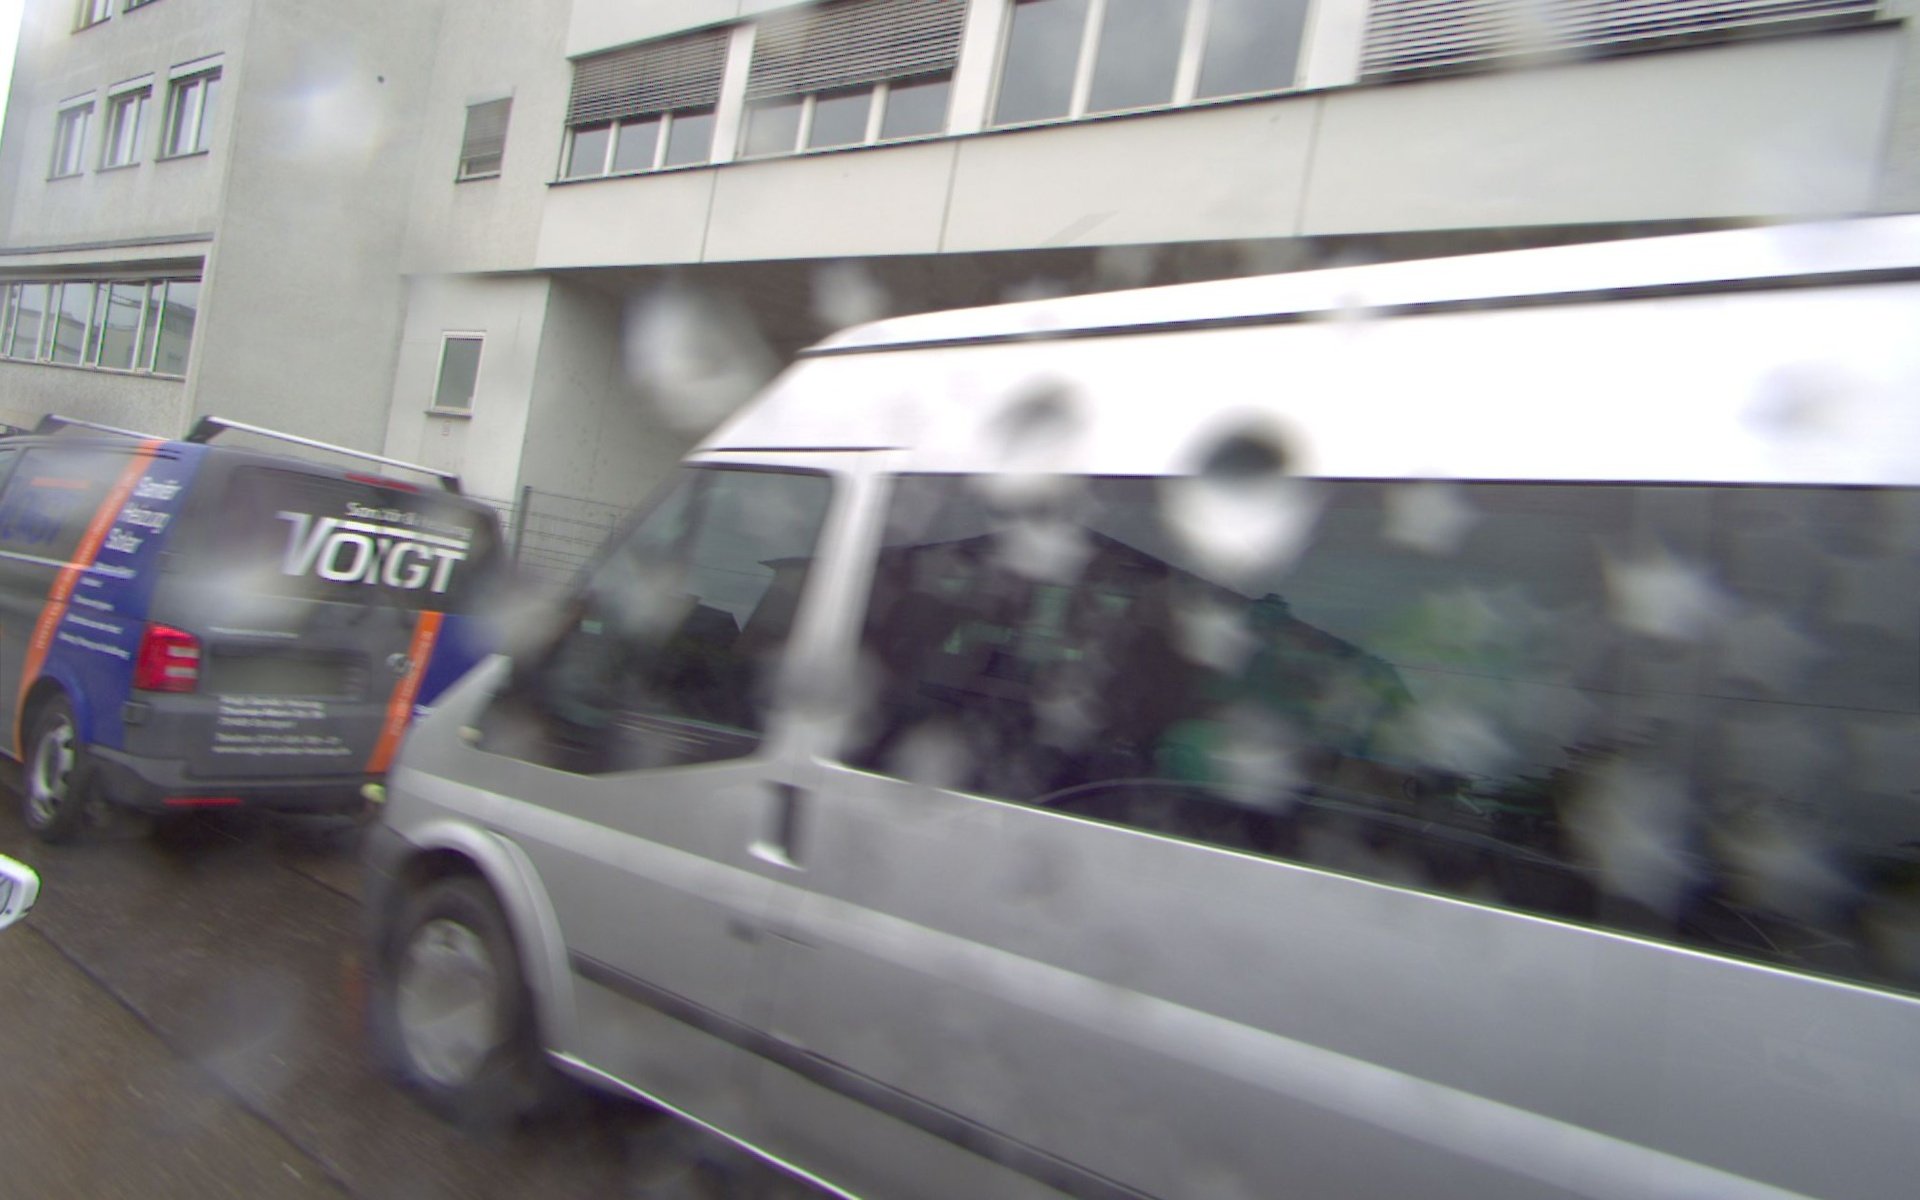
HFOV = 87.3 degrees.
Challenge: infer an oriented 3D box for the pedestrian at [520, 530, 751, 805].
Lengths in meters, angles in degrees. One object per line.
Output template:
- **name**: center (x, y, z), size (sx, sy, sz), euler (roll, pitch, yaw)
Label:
- **pedestrian**: center (-2.401, 0.480, 7.503), size (1.013, 1.780, 1.025), euler (9, 1, 30)

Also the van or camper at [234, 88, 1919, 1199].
- **van or camper**: center (0.541, 0.480, 2.666), size (5.351, 2.270, 1.996), euler (7, 0, 32)

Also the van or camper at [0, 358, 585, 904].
- **van or camper**: center (-4.879, -0.071, 6.128), size (5.117, 2.139, 1.996), euler (7, 0, 32)
